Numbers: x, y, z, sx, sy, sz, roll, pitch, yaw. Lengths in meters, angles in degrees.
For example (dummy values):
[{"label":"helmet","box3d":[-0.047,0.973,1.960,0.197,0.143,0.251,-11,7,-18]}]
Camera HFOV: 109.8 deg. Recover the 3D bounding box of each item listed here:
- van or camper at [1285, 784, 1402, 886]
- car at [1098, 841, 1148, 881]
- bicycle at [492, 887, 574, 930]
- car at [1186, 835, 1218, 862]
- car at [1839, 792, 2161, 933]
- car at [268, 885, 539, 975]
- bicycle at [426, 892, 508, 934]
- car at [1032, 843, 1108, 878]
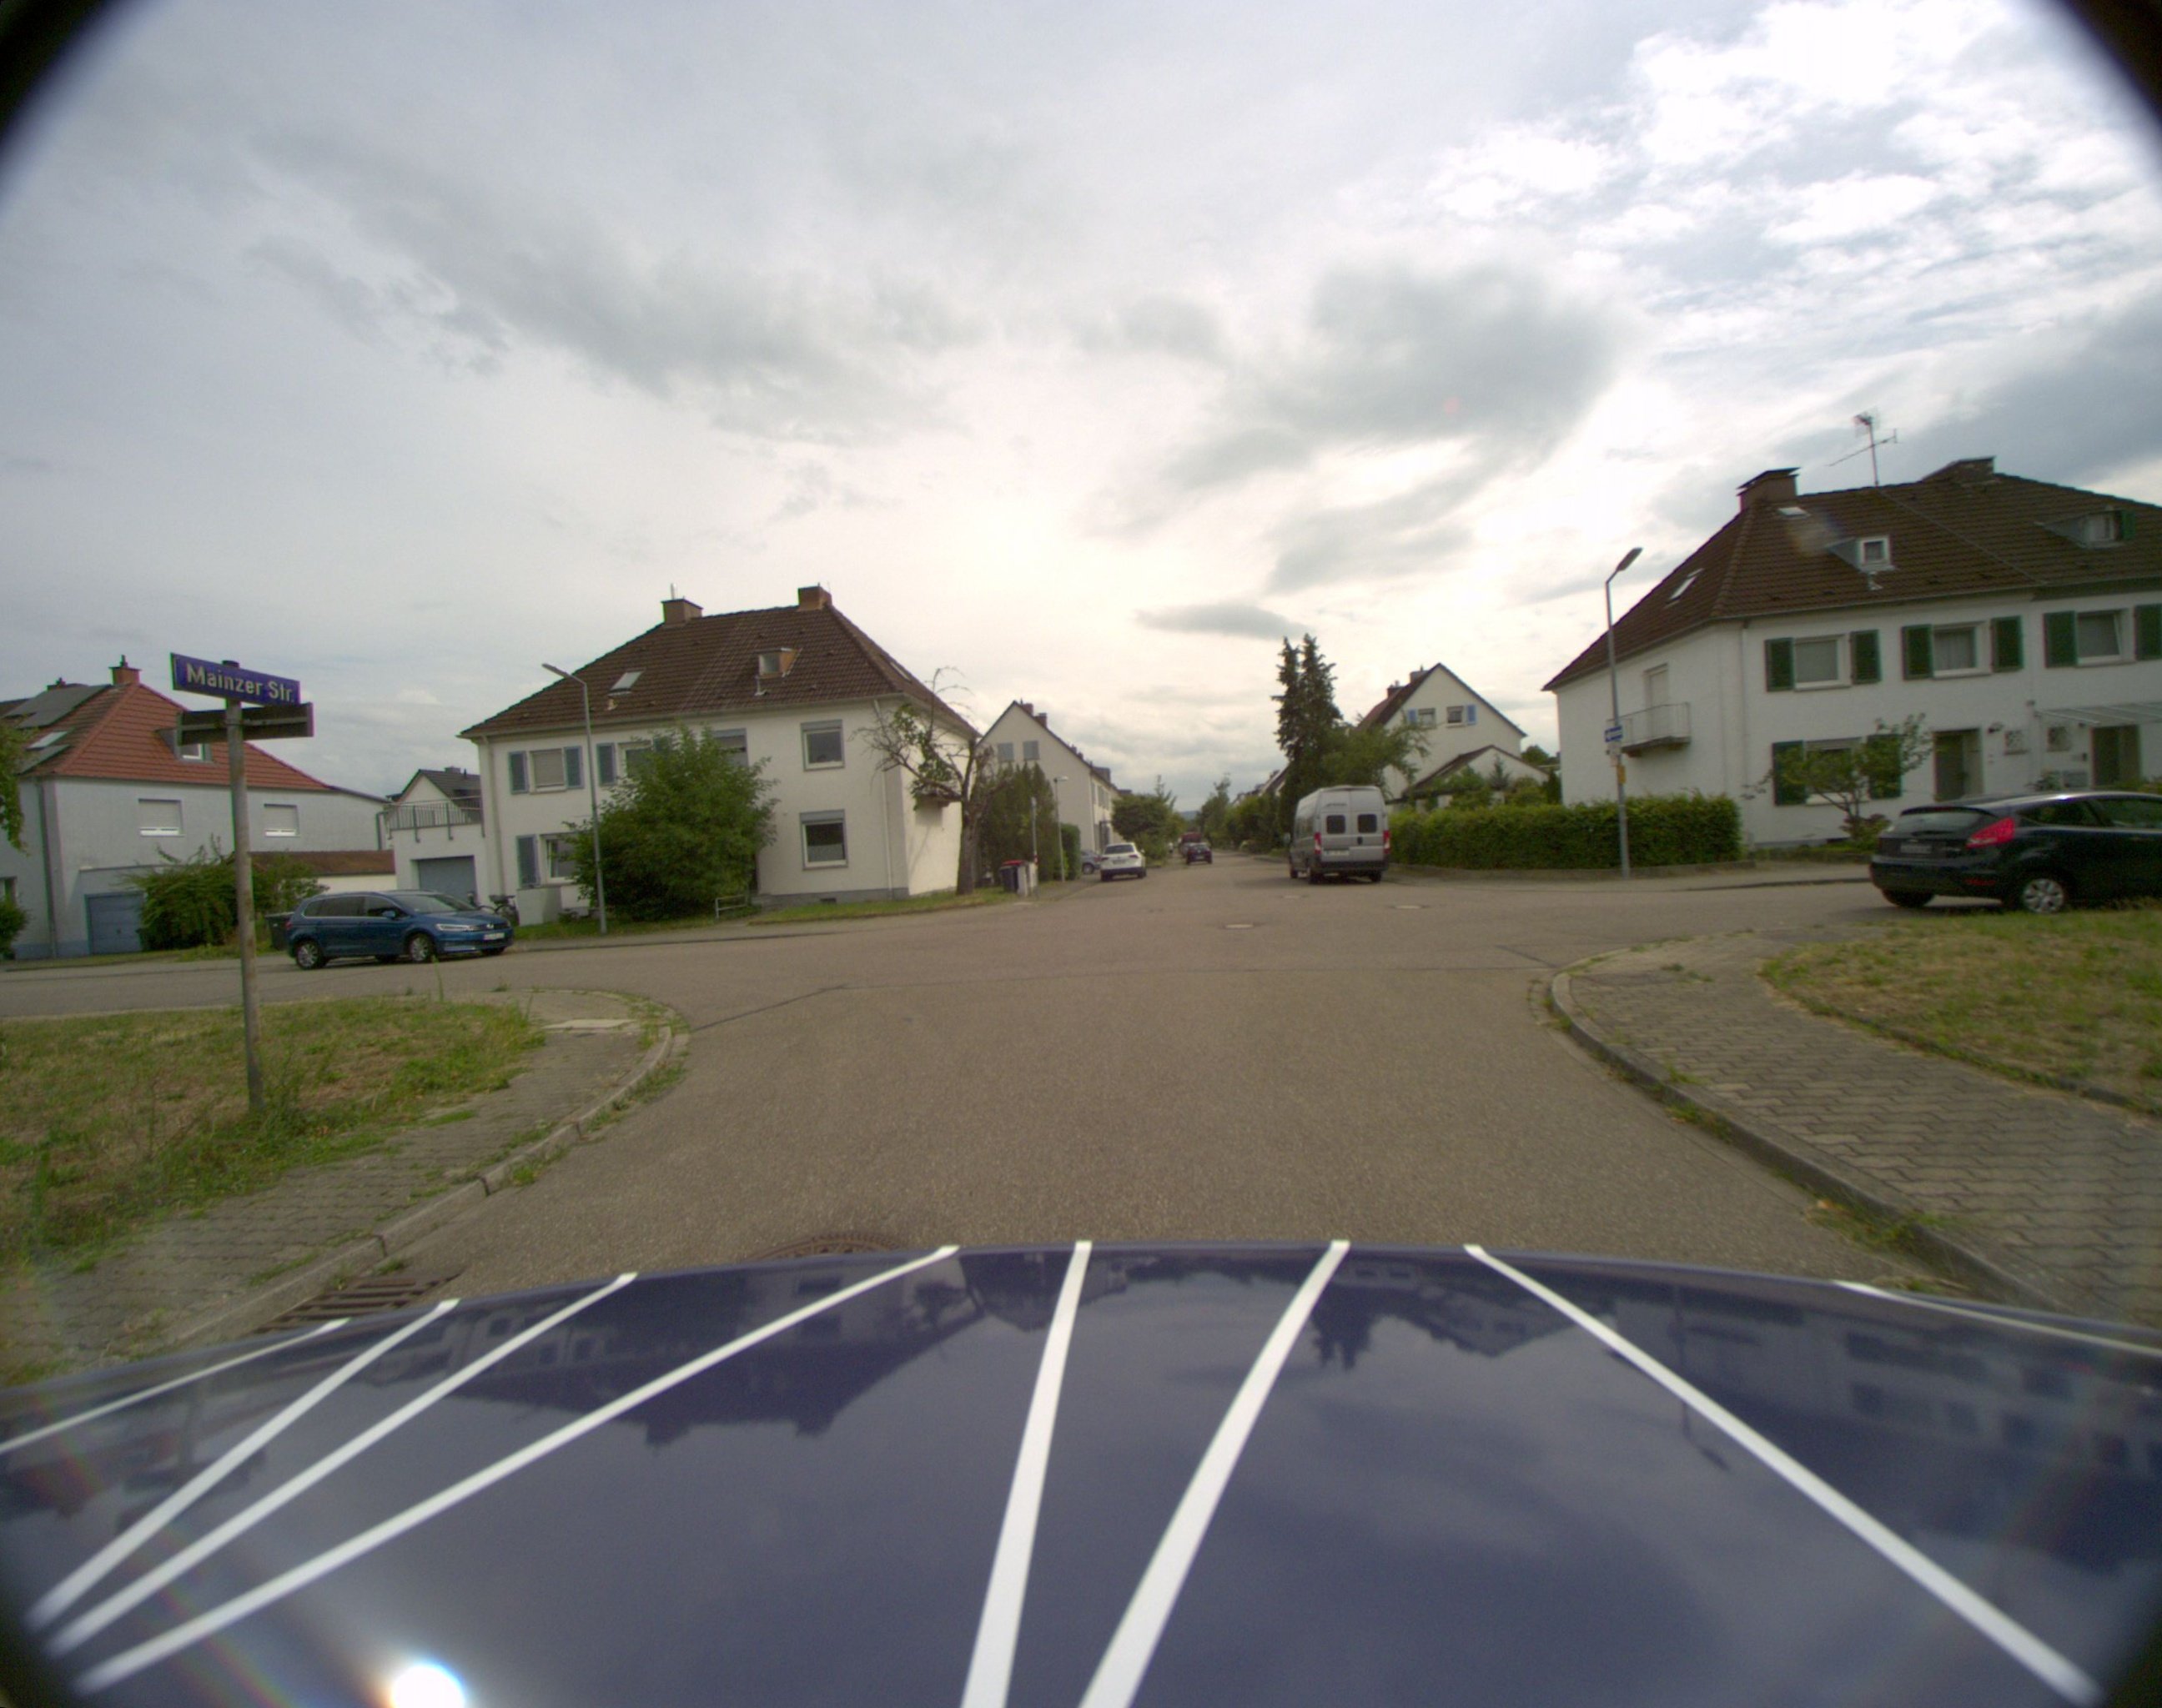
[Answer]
[{"label":"van or camper","box3d":[7.916,-0.563,23.573,2.345,2.719,5.750,-2,1,8]},{"label":"car","box3d":[1.913,0.258,34.087,1.998,1.590,4.000,-4,1,4]},{"label":"bicycle","box3d":[-16.620,1.646,23.058,2.168,1.128,0.572,-4,1,8]},{"label":"car","box3d":[8.527,-0.396,53.449,1.997,1.696,4.002,-4,1,11]},{"label":"car","box3d":[12.197,0.042,9.284,3.880,1.433,1.722,-4,1,7]},{"label":"car","box3d":[-15.077,1.678,17.045,4.540,1.561,2.001,-4,1,9]},{"label":"bicycle","box3d":[-18.863,1.810,23.357,2.168,1.128,0.572,-4,1,8]},{"label":"car","box3d":[-0.603,0.371,44.113,3.994,1.696,2.001,-4,1,8]}]
